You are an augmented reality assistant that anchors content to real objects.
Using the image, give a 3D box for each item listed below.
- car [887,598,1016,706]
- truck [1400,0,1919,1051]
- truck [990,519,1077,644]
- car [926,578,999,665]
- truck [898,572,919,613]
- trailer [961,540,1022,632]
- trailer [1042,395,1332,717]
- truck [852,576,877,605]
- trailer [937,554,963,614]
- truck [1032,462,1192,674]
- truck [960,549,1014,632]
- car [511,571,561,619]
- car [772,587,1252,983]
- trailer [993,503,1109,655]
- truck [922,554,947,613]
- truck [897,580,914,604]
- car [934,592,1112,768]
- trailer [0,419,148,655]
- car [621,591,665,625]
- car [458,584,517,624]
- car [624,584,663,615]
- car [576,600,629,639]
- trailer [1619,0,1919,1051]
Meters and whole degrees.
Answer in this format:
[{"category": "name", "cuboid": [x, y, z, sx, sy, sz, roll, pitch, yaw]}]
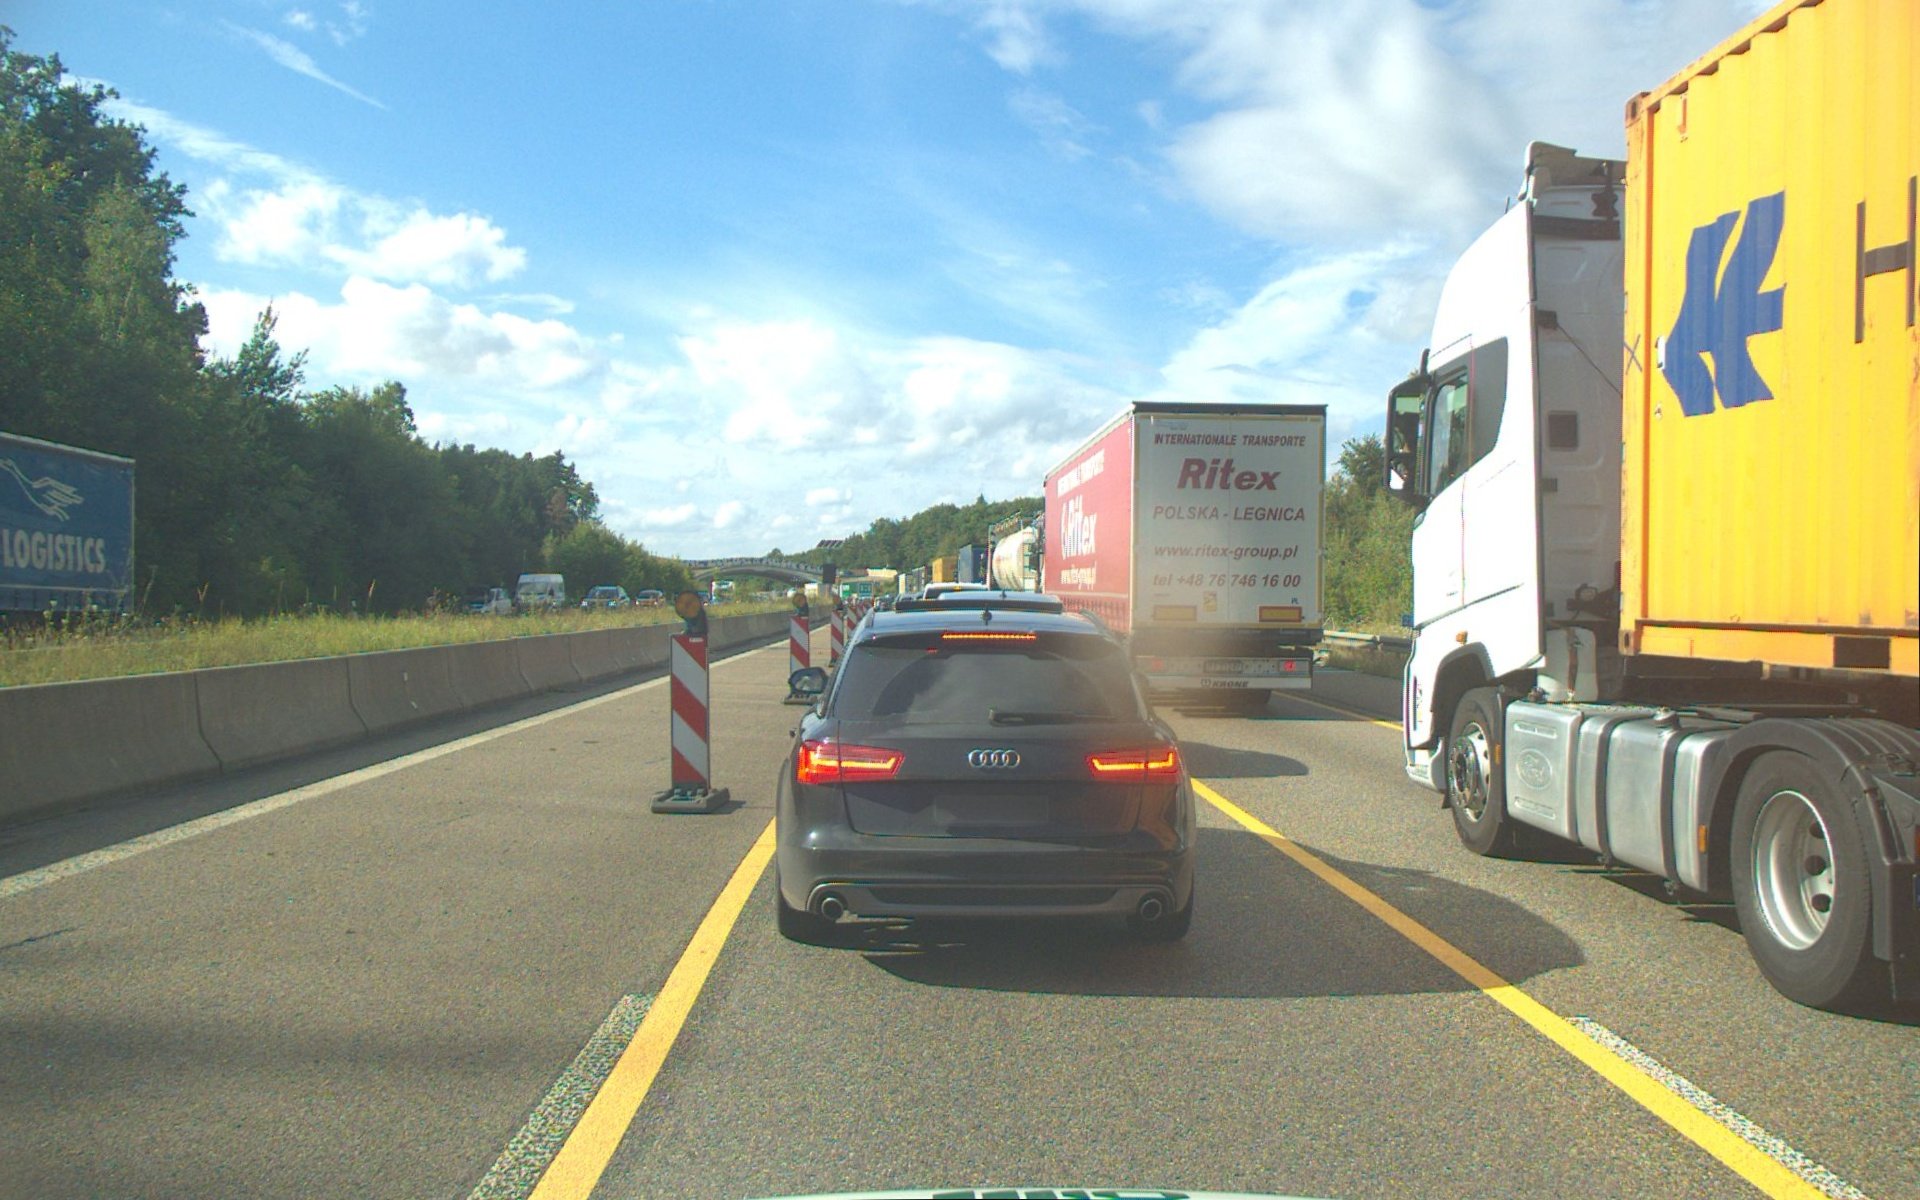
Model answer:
[{"category": "car", "cuboid": [-0.136, 0.713, 24.006, 1.716, 1.421, 3.607, 1, 0, -1]}, {"category": "truck", "cuboid": [4.330, -0.409, 8.413, 2.444, 3.847, 5.787, 1, 0, -2]}, {"category": "truck", "cuboid": [2.459, -0.587, 57.195, 2.605, 4.041, 5.777, 1, 0, -1]}, {"category": "car", "cuboid": [0.031, 0.479, 37.427, 1.549, 1.869, 3.111, 1, 0, -1]}, {"category": "truck", "cuboid": [-5.585, -0.795, 180.677, 2.094, 4.332, 7.069, 1, 0, -1]}, {"category": "trailer", "cuboid": [1.567, -0.649, 87.153, 2.748, 4.490, 10.430, 1, 0, -1]}, {"category": "trailer", "cuboid": [3.215, -0.572, 27.698, 2.645, 4.038, 13.413, 1, 0, -1]}, {"category": "truck", "cuboid": [-14.323, -1.377, 247.135, 3.241, 4.248, 9.687, 0, 0, -7]}, {"category": "trailer", "cuboid": [-0.732, -1.032, 114.073, 1.584, 3.987, 6.487, 1, 0, -2]}, {"category": "truck", "cuboid": [3.038, -0.616, 34.570, 2.614, 4.029, 5.709, 1, 0, -2]}, {"category": "truck", "cuboid": [1.464, -0.476, 93.180, 2.749, 4.446, 7.790, 1, 0, -1]}, {"category": "car", "cuboid": [-24.830, -0.264, 97.063, 2.208, 2.689, 5.010, 1, 0, -8]}, {"category": "car", "cuboid": [0.175, 0.716, 8.280, 1.811, 1.489, 3.999, 1, 0, -1]}, {"category": "trailer", "cuboid": [2.562, -0.564, 50.736, 2.590, 4.012, 12.595, 1, 0, -1]}, {"category": "truck", "cuboid": [-2.288, -1.436, 147.498, 1.953, 5.000, 9.558, 1, 0, -2]}, {"category": "truck", "cuboid": [-8.150, -1.199, 246.627, 2.515, 3.527, 7.395, 1, 0, -2]}, {"category": "car", "cuboid": [0.513, 0.691, 15.706, 1.493, 1.464, 3.284, 1, 0, -1]}, {"category": "trailer", "cuboid": [-18.388, -1.138, 28.268, 2.566, 4.214, 13.370, 1, 0, -1]}, {"category": "car", "cuboid": [-17.937, 0.459, 93.674, 1.762, 1.881, 3.809, 1, 0, -1]}, {"category": "car", "cuboid": [-24.883, 0.206, 87.199, 1.953, 2.049, 3.999, 1, 0, -1]}, {"category": "car", "cuboid": [-22.086, -0.046, 115.452, 1.953, 2.049, 3.999, 1, 0, -1]}, {"category": "car", "cuboid": [-16.572, 0.904, 76.752, 1.680, 1.736, 3.522, 1, 0, -1]}, {"category": "trailer", "cuboid": [4.518, -0.402, 1.824, 2.421, 3.841, 12.131, 1, 0, -2]}]
